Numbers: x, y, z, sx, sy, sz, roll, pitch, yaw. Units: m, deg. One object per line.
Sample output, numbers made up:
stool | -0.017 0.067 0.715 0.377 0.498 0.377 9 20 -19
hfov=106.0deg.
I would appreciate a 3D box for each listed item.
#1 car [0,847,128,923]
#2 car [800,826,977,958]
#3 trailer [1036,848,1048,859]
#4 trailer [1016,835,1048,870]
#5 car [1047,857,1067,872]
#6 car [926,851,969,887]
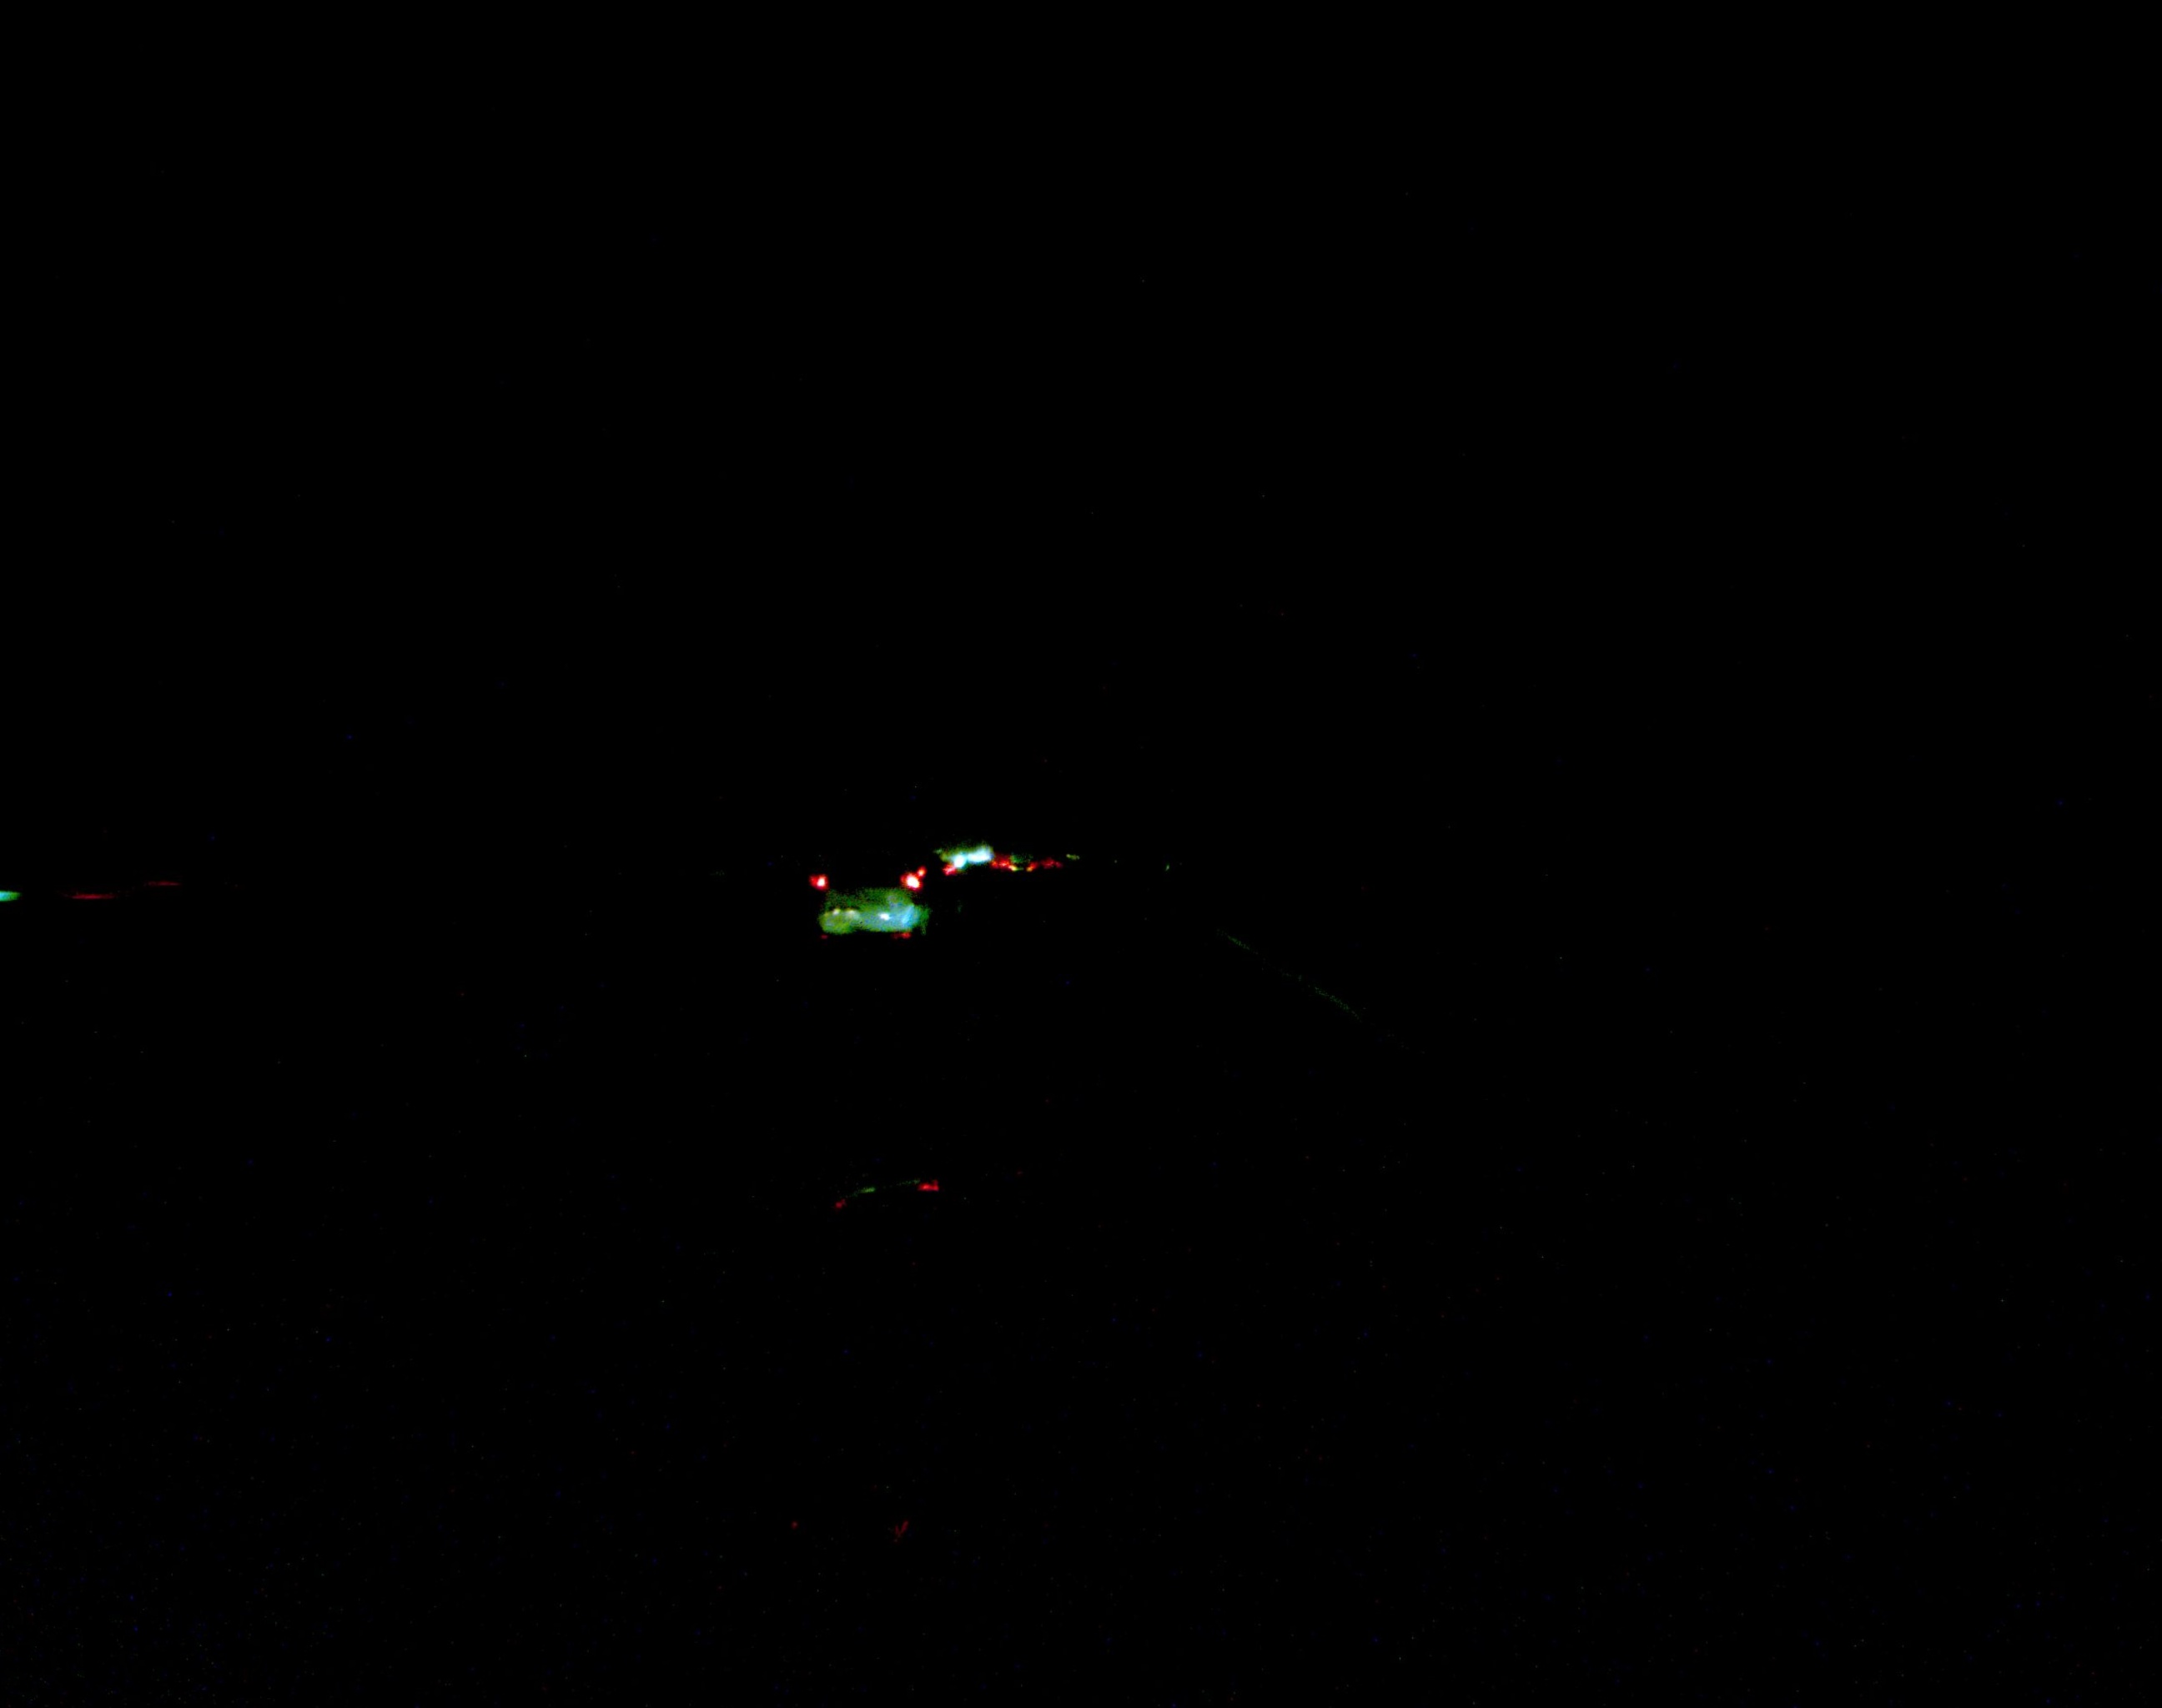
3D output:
car | -30.485 0.835 22.895 1.986 2.014 4.407 2 0 2
car | -3.290 0.600 15.060 1.987 2.014 5.017 0 0 1
trailer | -10.349 -0.062 217.287 2.680 2.699 12.849 2 0 -1
trailer | -5.599 -0.087 95.052 2.583 3.725 13.652 3 -1 1
car | -3.039 1.347 102.325 1.984 1.818 4.005 2 0 5
car | -8.081 0.907 49.531 1.989 2.014 4.563 2 0 -3
